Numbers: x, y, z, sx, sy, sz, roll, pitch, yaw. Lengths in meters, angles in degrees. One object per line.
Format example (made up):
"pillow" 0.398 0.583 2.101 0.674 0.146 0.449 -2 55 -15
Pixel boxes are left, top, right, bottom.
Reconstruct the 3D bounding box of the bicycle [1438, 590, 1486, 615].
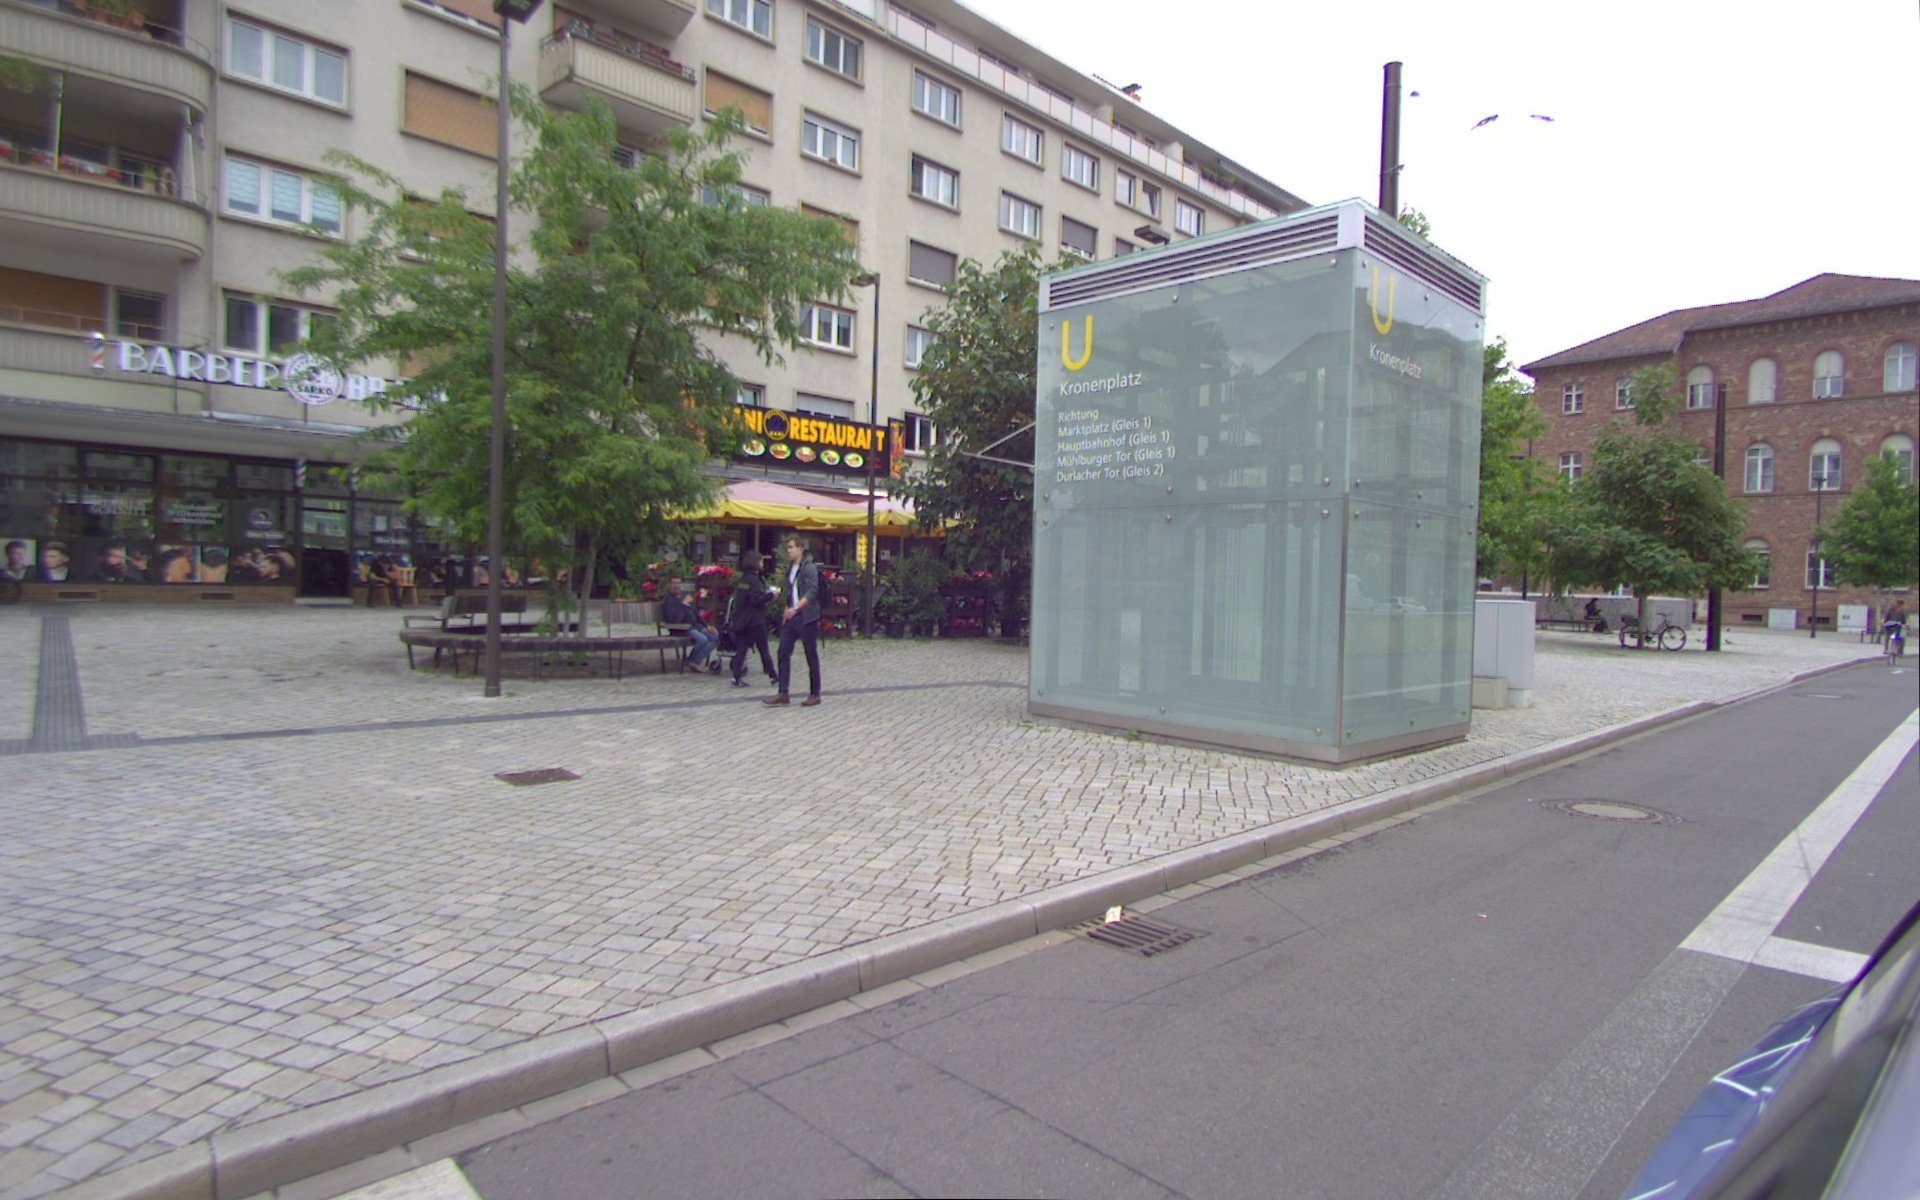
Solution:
"bicycle" 24.452 0.125 49.361 0.462 1.077 2.027 1 3 -43

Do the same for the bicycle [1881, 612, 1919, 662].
"bicycle" 25.012 0.959 26.794 1.905 1.276 0.524 0 1 -36

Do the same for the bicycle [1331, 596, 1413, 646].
"bicycle" 10.299 0.506 25.365 0.468 1.124 2.045 1 2 -27

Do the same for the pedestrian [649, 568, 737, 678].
"pedestrian" -3.434 0.274 13.000 0.719 1.313 1.048 1 3 -37

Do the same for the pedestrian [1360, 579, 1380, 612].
"pedestrian" 21.454 -0.232 52.968 0.579 1.691 0.644 3 0 -27

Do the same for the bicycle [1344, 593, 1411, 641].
"bicycle" 10.650 0.423 25.854 0.468 1.124 1.608 1 2 -28

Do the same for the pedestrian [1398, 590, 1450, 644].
"pedestrian" 12.126 0.446 26.461 1.254 1.383 0.545 1 0 -25

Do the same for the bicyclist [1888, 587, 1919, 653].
"bicyclist" 25.096 0.518 26.829 0.778 1.705 0.571 1 1 -36

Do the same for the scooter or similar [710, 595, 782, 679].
"scooter or similar" -2.819 0.462 13.466 0.710 0.960 1.594 2 2 -5

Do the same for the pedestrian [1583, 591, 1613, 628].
"pedestrian" 26.551 0.382 42.112 0.770 1.473 0.764 4 3 18

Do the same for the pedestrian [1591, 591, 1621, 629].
"pedestrian" 26.369 0.409 41.309 0.770 1.473 0.764 4 3 18

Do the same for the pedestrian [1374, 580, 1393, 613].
"pedestrian" 22.392 -0.206 53.479 0.579 1.691 0.645 3 0 -22

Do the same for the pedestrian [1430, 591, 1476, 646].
"pedestrian" 12.633 0.469 25.918 0.900 1.383 0.631 1 0 -25

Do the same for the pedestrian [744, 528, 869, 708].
"pedestrian" -1.661 0.163 10.969 1.060 1.824 0.714 0 4 -44

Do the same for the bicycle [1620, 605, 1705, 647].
"bicycle" 20.319 0.742 29.320 0.632 1.137 1.922 1 0 -32

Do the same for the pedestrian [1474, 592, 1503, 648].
"pedestrian" 13.407 0.488 25.660 0.624 1.383 0.681 1 0 29

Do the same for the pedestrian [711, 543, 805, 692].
"pedestrian" -2.416 0.187 12.124 0.625 1.705 0.856 4 3 43
